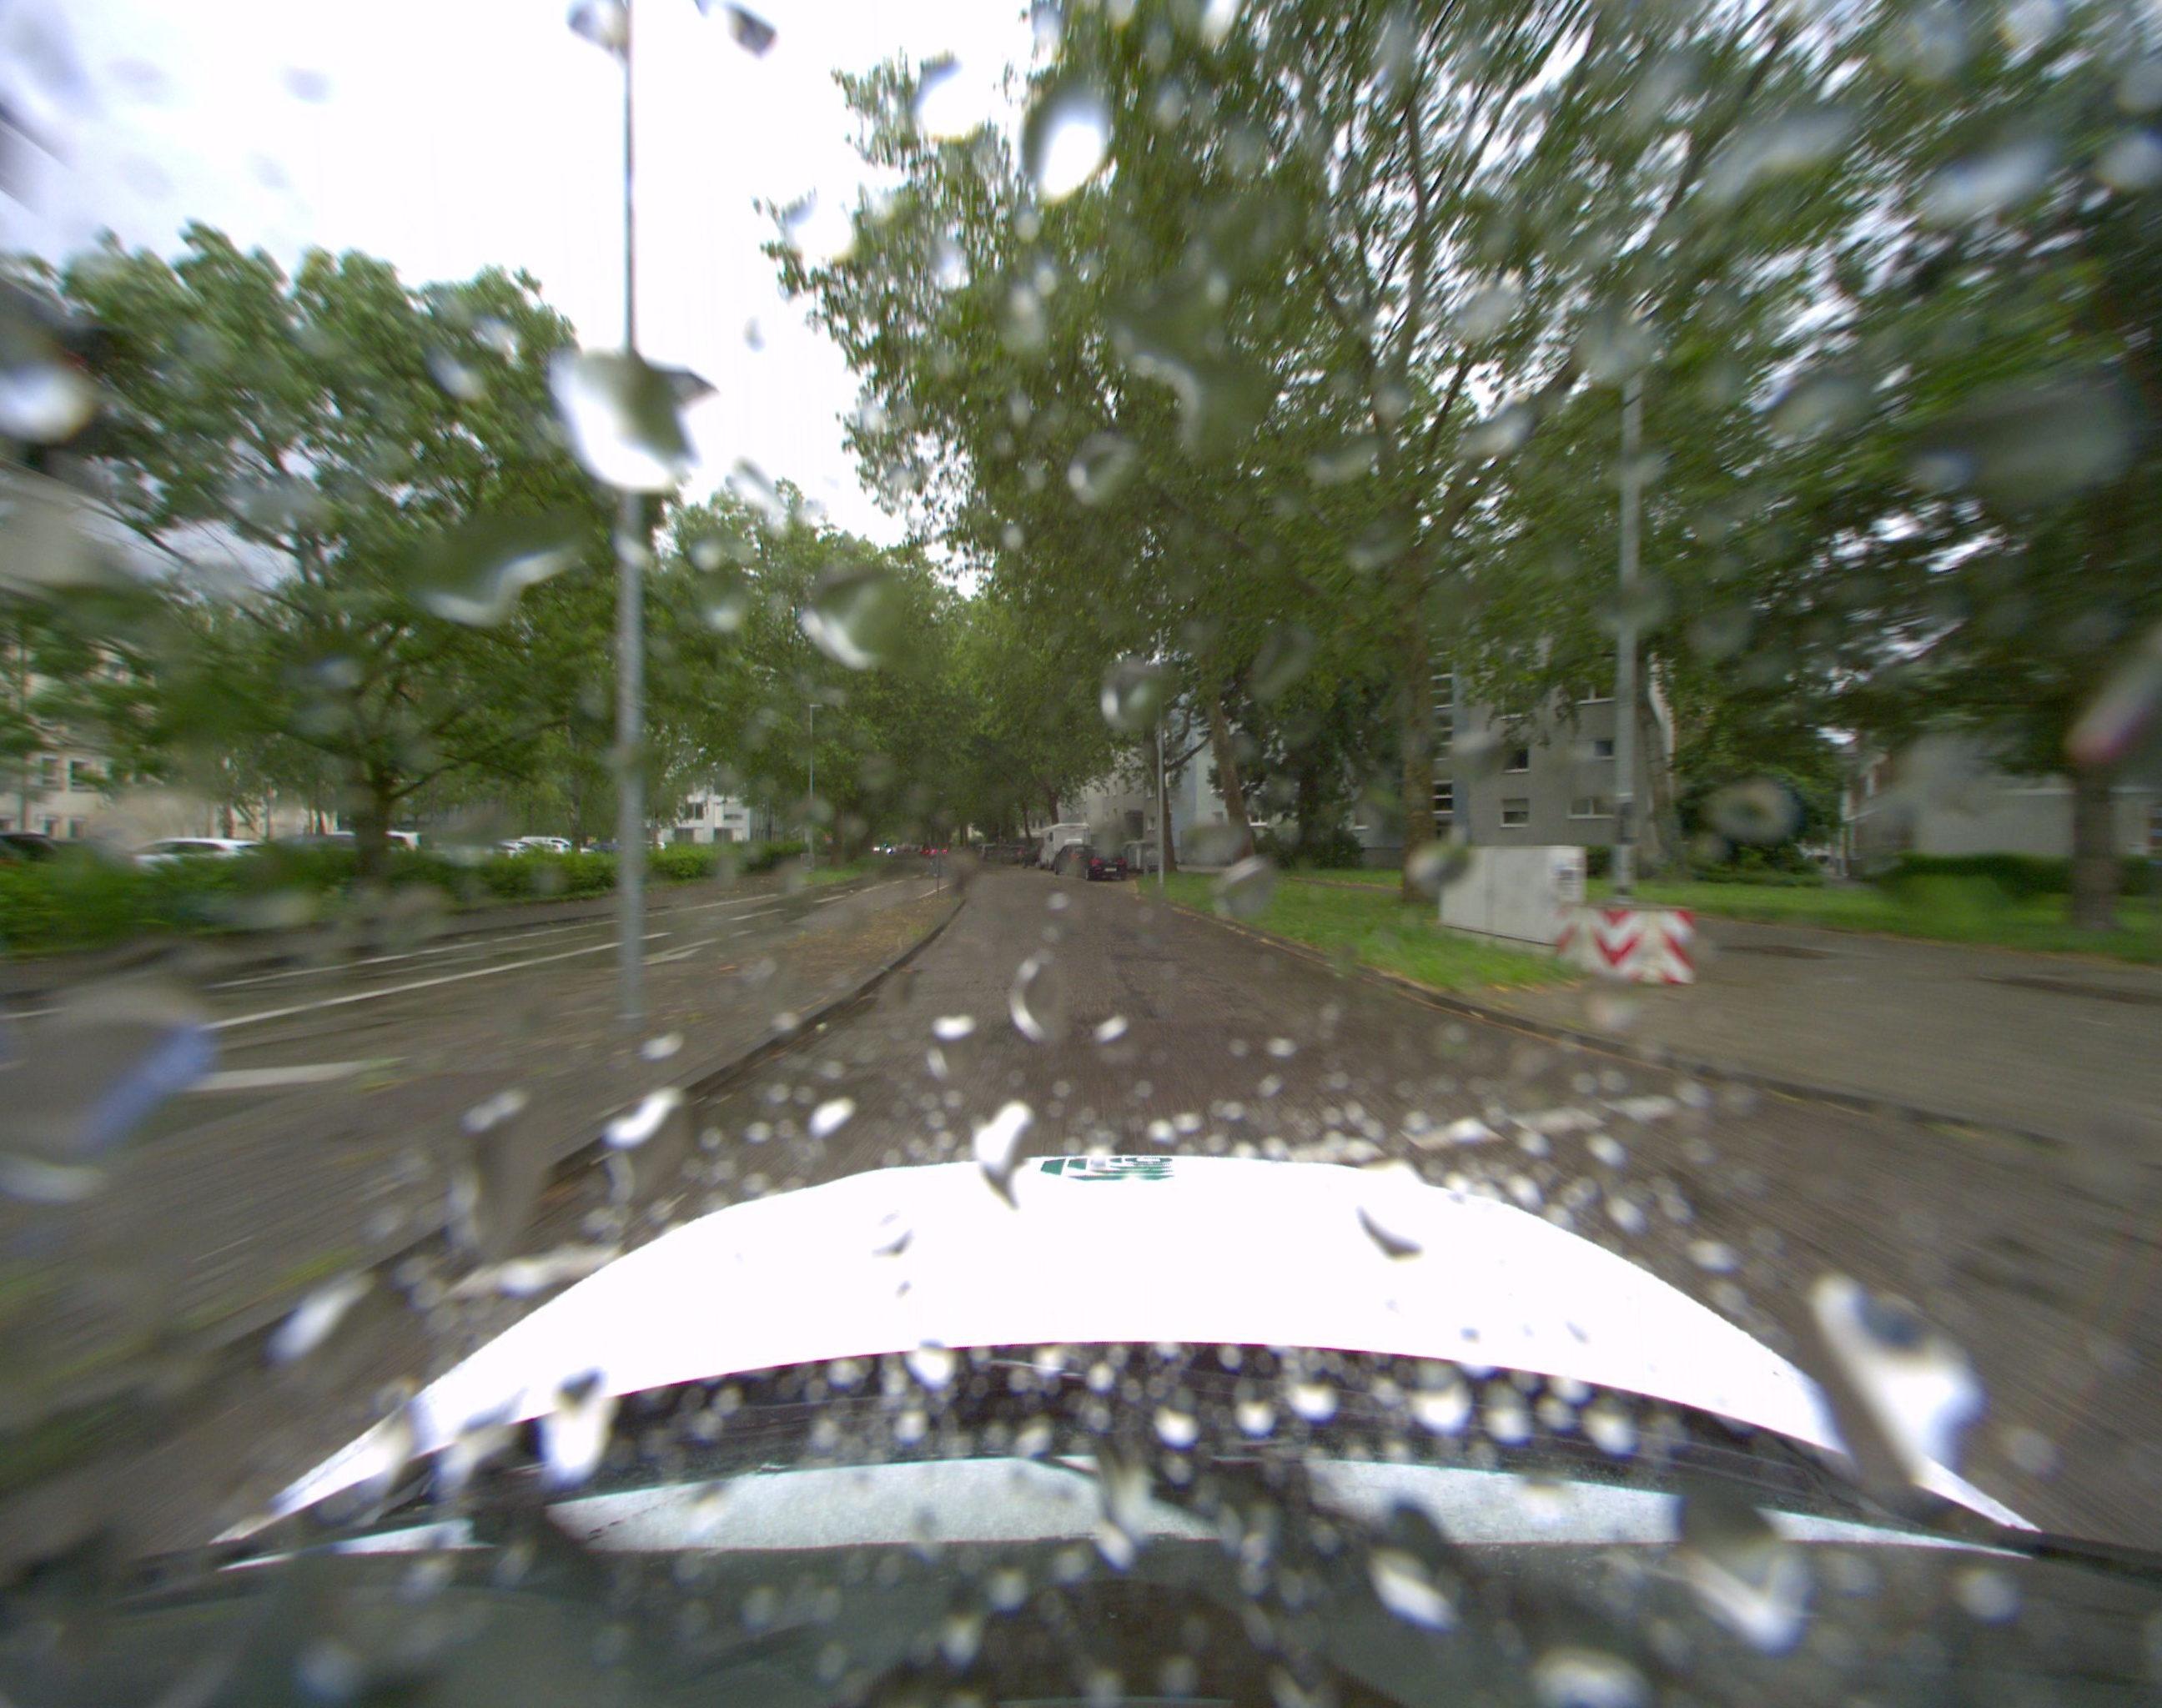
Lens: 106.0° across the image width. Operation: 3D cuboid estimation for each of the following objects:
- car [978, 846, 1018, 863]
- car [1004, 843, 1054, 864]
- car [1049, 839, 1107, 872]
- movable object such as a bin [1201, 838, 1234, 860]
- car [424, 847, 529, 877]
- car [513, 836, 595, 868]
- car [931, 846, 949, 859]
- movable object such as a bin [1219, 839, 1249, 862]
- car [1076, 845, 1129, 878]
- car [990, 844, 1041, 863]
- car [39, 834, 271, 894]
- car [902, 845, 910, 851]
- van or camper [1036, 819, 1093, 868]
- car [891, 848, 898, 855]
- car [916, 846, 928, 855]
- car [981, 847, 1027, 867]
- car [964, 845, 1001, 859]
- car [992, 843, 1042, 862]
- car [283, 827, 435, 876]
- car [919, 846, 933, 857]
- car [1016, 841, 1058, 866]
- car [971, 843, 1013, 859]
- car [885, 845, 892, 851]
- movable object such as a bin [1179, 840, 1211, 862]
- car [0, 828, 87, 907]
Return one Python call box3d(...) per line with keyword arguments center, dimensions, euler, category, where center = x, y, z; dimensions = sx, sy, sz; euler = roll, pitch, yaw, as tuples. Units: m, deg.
box3d(center=(-8.668, 0.072, 85.056), dimensions=(3.992, 1.727, 1.793), euler=(1, 1, -14), category="car")
box3d(center=(-4.132, -0.012, 65.083), dimensions=(3.790, 1.601, 1.781), euler=(0, 1, -44), category="car")
box3d(center=(-0.219, 0.092, 42.205), dimensions=(1.919, 1.620, 4.431), euler=(1, -1, -15), category="car")
box3d(center=(8.885, -0.335, 53.128), dimensions=(1.221, 1.432, 1.844), euler=(0, 1, -31), category="movable object such as a bin")
box3d(center=(-31.859, 0.428, 43.058), dimensions=(3.989, 1.550, 1.878), euler=(0, 0, -12), category="car")
box3d(center=(-34.417, -0.159, 53.262), dimensions=(3.991, 2.013, 1.991), euler=(-1, 1, -13), category="car")
box3d(center=(-15.770, -0.179, 90.916), dimensions=(1.708, 1.411, 3.627), euler=(-2, 1, -14), category="car")
box3d(center=(9.701, -0.215, 51.713), dimensions=(1.325, 1.432, 1.357), euler=(0, 1, -32), category="movable object such as a bin")
box3d(center=(0.918, 0.289, 36.819), dimensions=(1.549, 1.390, 4.134), euler=(1, 1, -11), category="car")
box3d(center=(-5.502, -0.050, 68.456), dimensions=(4.023, 1.601, 1.781), euler=(0, 1, -44), category="car")
box3d(center=(-26.969, 0.285, 23.911), dimensions=(3.997, 1.638, 1.988), euler=(1, 1, -18), category="car")
box3d(center=(-40.666, -1.469, 189.536), dimensions=(1.708, 1.411, 3.627), euler=(-2, 1, -14), category="car")
box3d(center=(-1.124, -0.614, 49.986), dimensions=(2.320, 2.807, 6.836), euler=(0, 0, -12), category="van or camper")
box3d(center=(-44.469, -0.583, 194.304), dimensions=(1.681, 1.388, 4.529), euler=(-1, 1, -13), category="car")
box3d(center=(-25.408, -0.589, 130.280), dimensions=(1.708, 1.411, 3.627), euler=(-2, 1, -14), category="car")
box3d(center=(-7.124, 0.251, 75.332), dimensions=(3.889, 1.697, 1.816), euler=(-3, 3, -42), category="car")
box3d(center=(-11.470, -0.297, 95.153), dimensions=(4.045, 1.441, 1.676), euler=(-3, 1, -17), category="car")
box3d(center=(-5.719, -0.158, 72.708), dimensions=(4.021, 1.601, 2.011), euler=(0, 1, -41), category="car")
box3d(center=(-28.090, -0.078, 31.852), dimensions=(3.997, 1.833, 1.844), euler=(1, 1, -18), category="car")
box3d(center=(-21.488, -0.333, 112.878), dimensions=(1.708, 1.411, 3.627), euler=(-2, 1, -14), category="car")
box3d(center=(-2.992, -0.028, 55.274), dimensions=(1.697, 1.652, 2.918), euler=(0, 1, -30), category="car")
box3d(center=(-9.695, -0.334, 88.541), dimensions=(4.343, 1.762, 1.810), euler=(1, 1, -14), category="car")
box3d(center=(-52.623, -1.696, 222.622), dimensions=(1.708, 1.411, 3.627), euler=(-2, 1, -14), category="car")
box3d(center=(7.637, -0.235, 54.542), dimensions=(1.221, 1.432, 1.844), euler=(0, 1, -31), category="movable object such as a bin")
box3d(center=(-23.960, 0.238, 16.958), dimensions=(3.987, 1.611, 1.646), euler=(1, 0, -10), category="car")
